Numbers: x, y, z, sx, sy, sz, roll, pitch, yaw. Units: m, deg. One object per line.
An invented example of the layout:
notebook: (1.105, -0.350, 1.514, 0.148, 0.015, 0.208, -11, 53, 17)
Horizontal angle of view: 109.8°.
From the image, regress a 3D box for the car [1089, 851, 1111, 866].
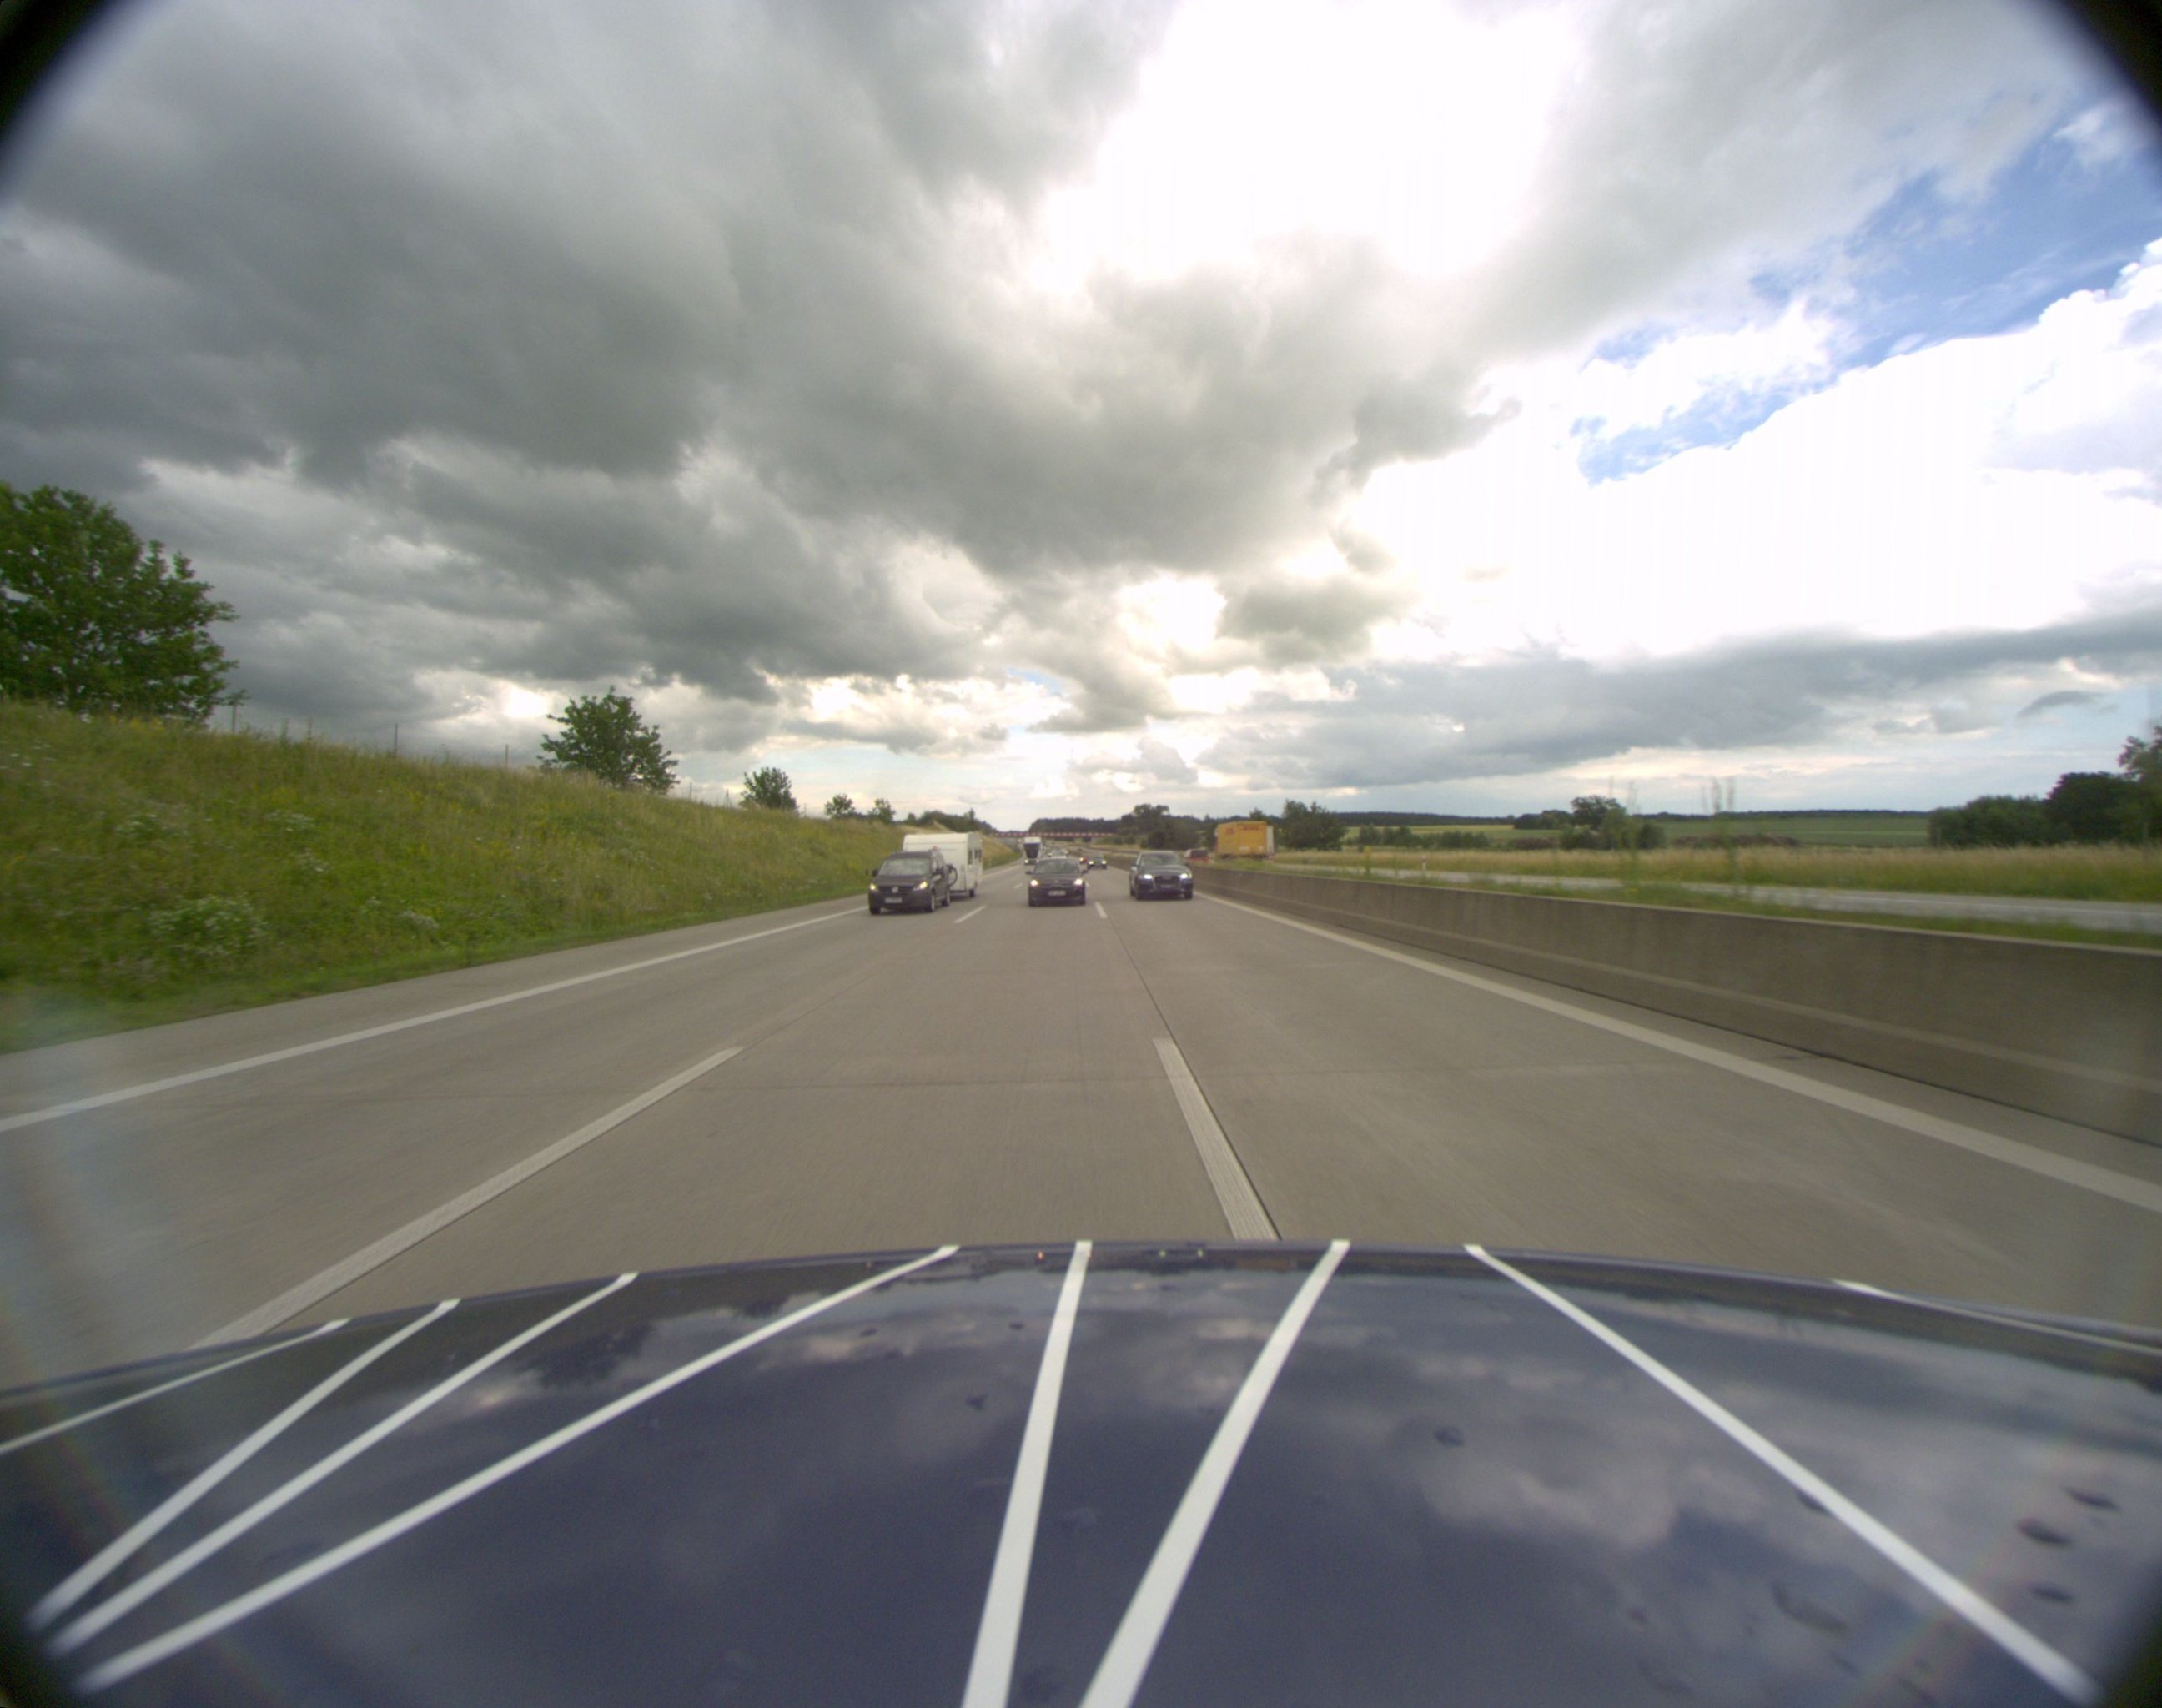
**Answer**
car: (1.898, 0.441, 75.438, 1.939, 1.464, 4.001, -1, 0, 4)

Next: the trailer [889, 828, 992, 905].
trailer: (-5.098, 0.380, 28.813, 2.615, 2.520, 6.720, -1, 1, 0)

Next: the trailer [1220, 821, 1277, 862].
trailer: (17.598, -1.231, 80.912, 2.847, 4.014, 13.905, -1, 0, 0)

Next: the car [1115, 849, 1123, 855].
car: (8.153, -0.401, 162.774, 1.571, 1.344, 3.472, -1, 0, 0)

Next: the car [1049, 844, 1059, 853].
car: (-6.451, -1.350, 181.092, 1.998, 2.002, 3.999, -2, 1, 1)

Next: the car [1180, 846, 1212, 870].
car: (9.846, 0.305, 65.433, 1.817, 1.951, 5.338, -2, 1, -1)

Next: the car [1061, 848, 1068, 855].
car: (-4.642, -0.758, 211.816, 1.999, 2.002, 3.998, -1, 1, -2)

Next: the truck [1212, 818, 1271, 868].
truck: (13.972, -0.895, 67.100, 2.824, 4.014, 10.566, -1, 0, 0)

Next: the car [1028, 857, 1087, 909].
car: (-0.681, 0.856, 24.275, 1.691, 1.405, 3.999, -1, 1, 0)

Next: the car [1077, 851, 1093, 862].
car: (0.588, 0.297, 105.565, 1.821, 1.364, 3.783, -2, 1, 4)

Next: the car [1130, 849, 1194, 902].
car: (2.685, 0.661, 26.199, 1.797, 1.587, 5.157, -2, 0, 2)

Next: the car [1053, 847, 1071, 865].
car: (-2.285, 0.204, 90.738, 1.999, 2.002, 3.999, -1, 0, -1)

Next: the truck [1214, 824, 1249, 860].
truck: (17.502, -1.349, 88.538, 2.847, 4.015, 5.510, -1, 0, 0)

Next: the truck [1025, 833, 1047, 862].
truck: (-6.723, -0.927, 115.656, 2.855, 4.176, 10.707, -1, 0, -1)

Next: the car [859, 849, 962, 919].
car: (-4.959, 0.787, 22.908, 1.944, 1.799, 5.031, -1, 1, 0)

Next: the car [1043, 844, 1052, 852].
car: (-9.249, -1.575, 208.180, 2.358, 2.002, 4.810, -2, 1, -1)
